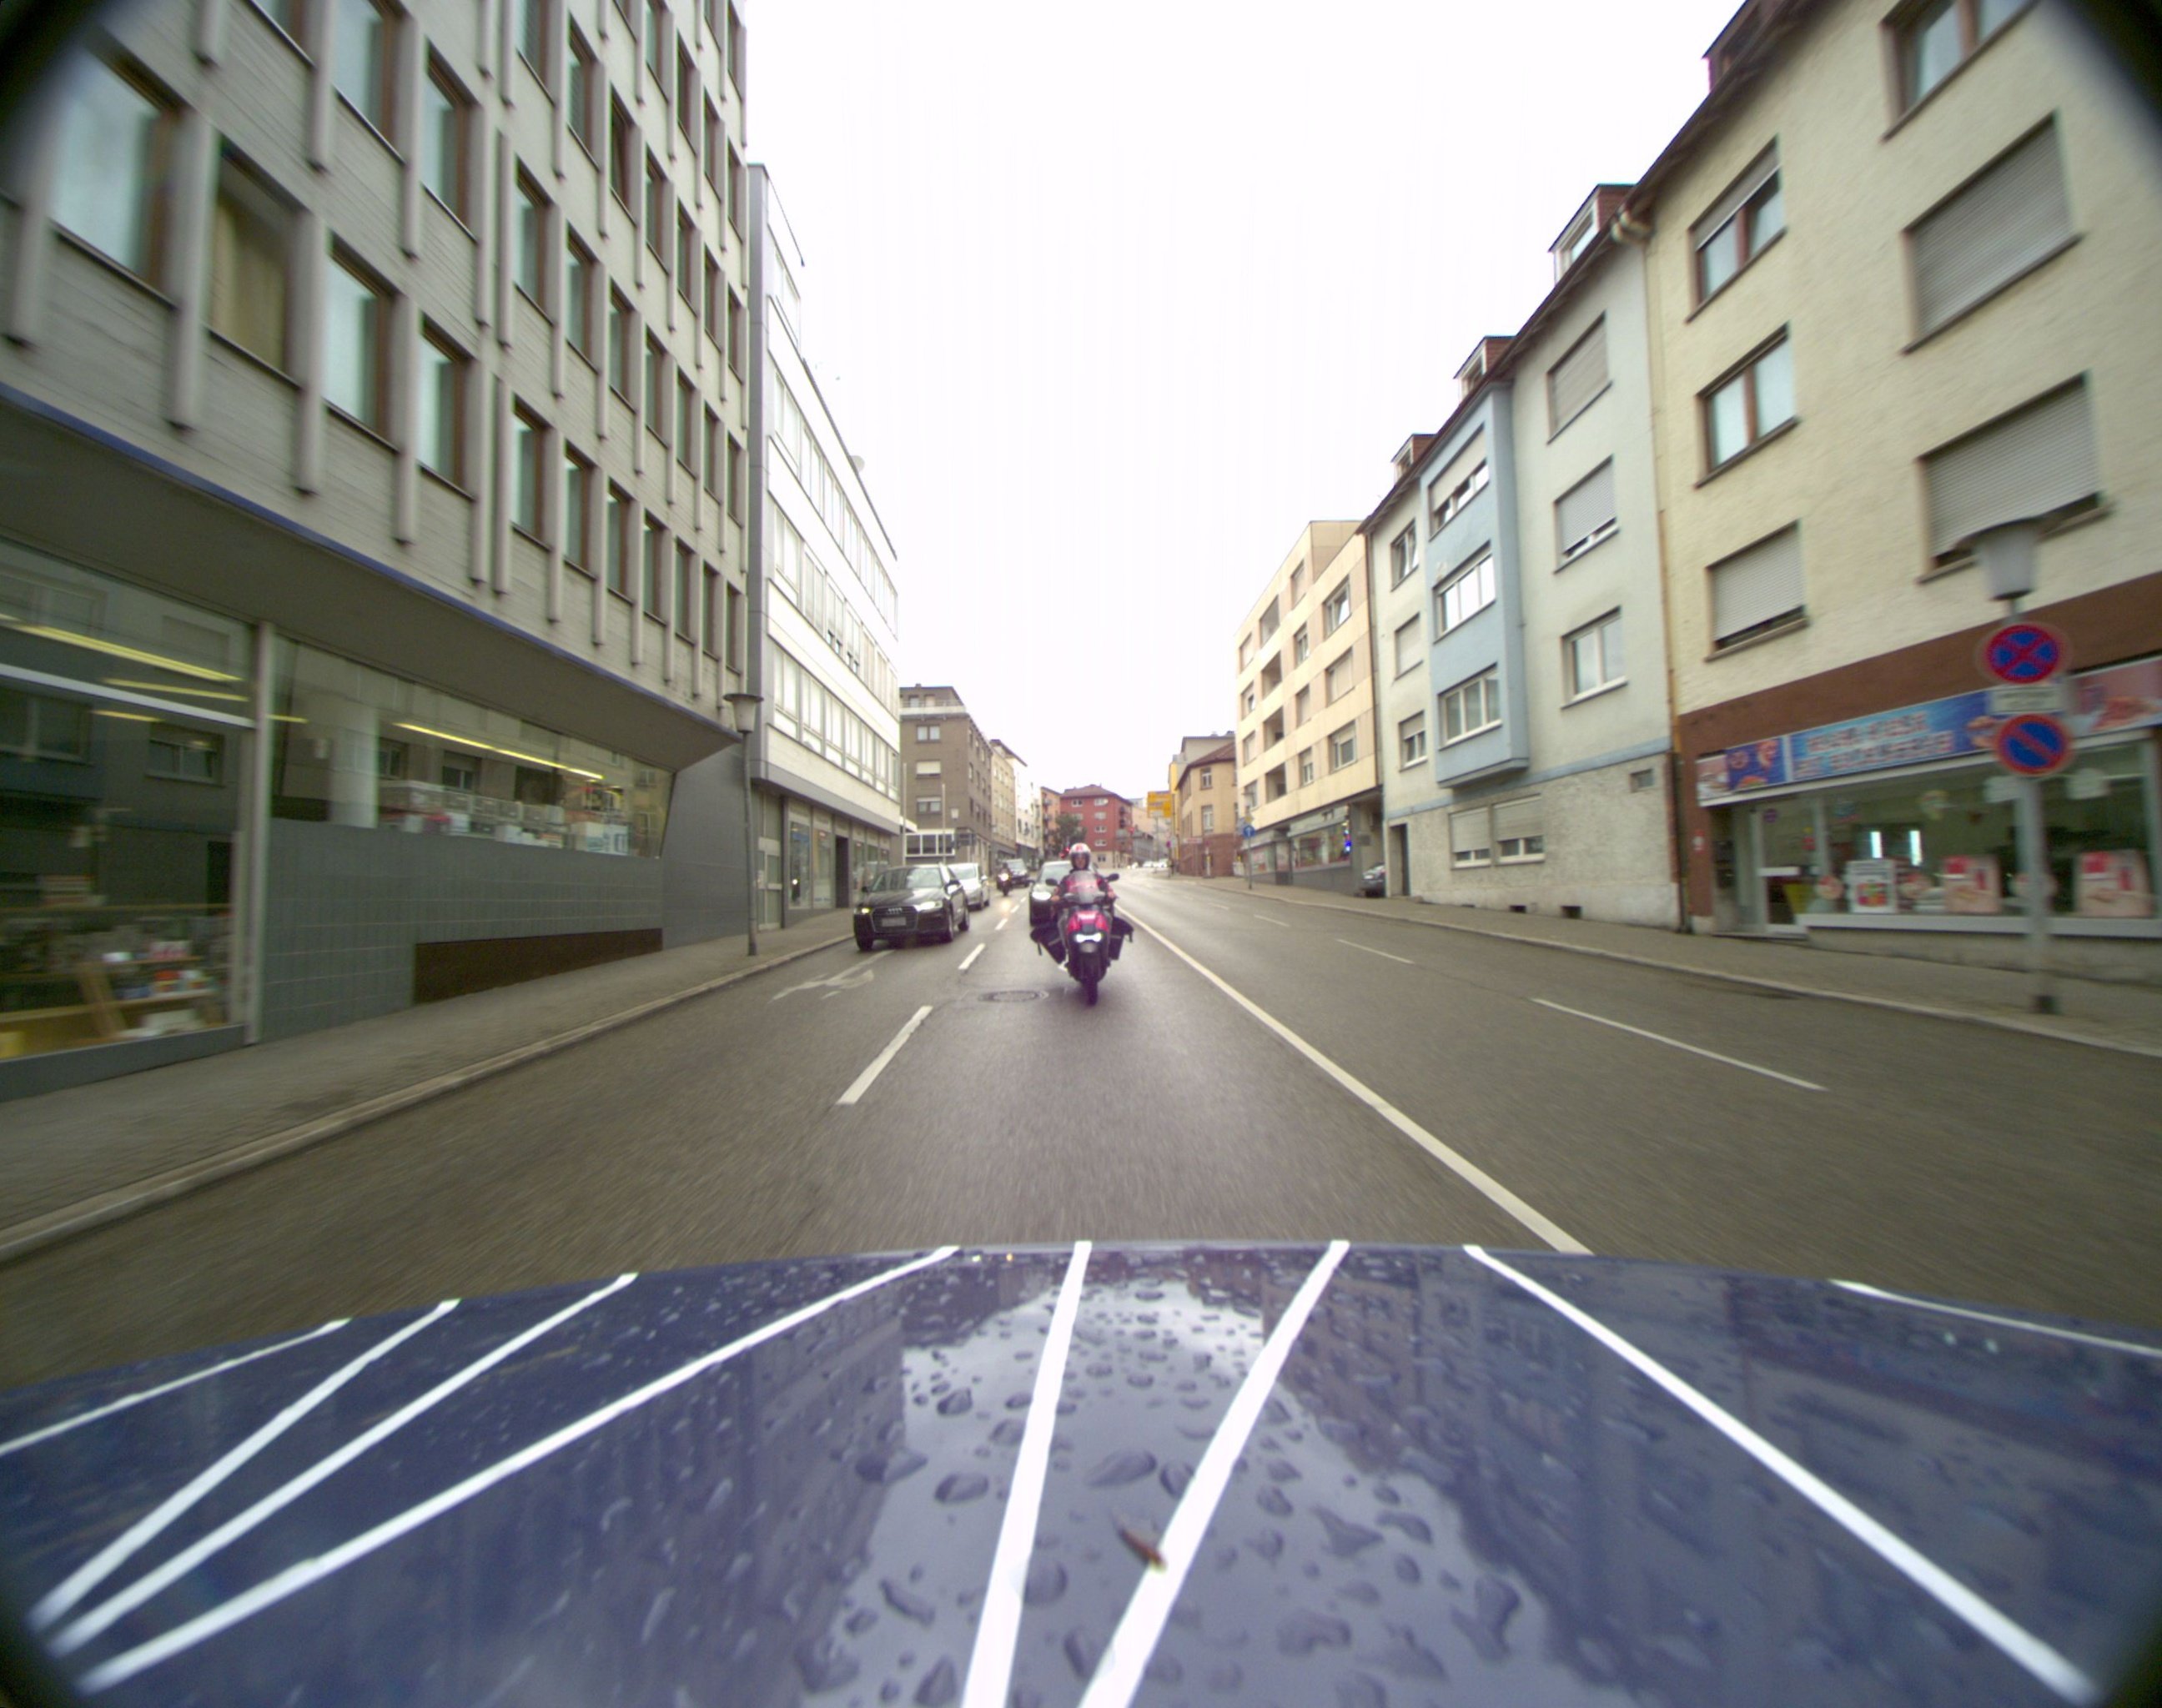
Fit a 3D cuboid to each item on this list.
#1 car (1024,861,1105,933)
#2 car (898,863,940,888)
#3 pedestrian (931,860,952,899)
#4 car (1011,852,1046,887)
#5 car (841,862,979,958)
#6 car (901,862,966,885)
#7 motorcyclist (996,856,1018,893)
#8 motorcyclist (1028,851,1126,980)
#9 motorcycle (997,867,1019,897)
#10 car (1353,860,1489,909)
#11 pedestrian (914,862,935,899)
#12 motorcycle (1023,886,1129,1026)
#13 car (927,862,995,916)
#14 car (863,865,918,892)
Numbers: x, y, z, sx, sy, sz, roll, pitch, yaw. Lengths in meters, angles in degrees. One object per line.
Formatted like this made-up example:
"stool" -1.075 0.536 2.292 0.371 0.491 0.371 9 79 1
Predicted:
"car" -0.318 0.972 18.953 1.705 1.451 4.319 -4 0 1
"car" -10.539 1.358 49.656 1.793 1.503 4.437 -1 0 0
"pedestrian" -6.276 1.116 34.139 0.786 1.695 1.120 1 1 -4
"car" -3.163 0.887 45.127 1.849 1.892 3.763 -2 0 -6
"car" -3.363 1.036 15.828 1.828 1.551 4.201 -4 0 0
"car" -11.501 1.517 59.374 4.532 1.495 2.000 -3 0 3
"motorcyclist" -3.364 0.912 34.571 0.847 1.580 0.962 -4 1 -6
"motorcyclist" -0.035 0.661 8.578 1.010 1.373 0.835 -1 0 1
"motorcycle" -3.339 1.252 34.680 0.847 1.218 2.372 -4 0 -6
"car" 11.901 1.078 26.696 4.000 1.342 1.678 5 -3 -8
"pedestrian" -6.748 1.150 32.789 0.767 1.542 0.890 1 1 -4
"motorcycle" -0.026 1.054 8.761 1.010 1.218 2.694 -1 0 1
"car" -3.998 1.130 25.958 1.831 1.532 4.250 -5 0 -5
"car" -10.688 1.331 42.886 1.793 1.407 4.616 -1 0 2
